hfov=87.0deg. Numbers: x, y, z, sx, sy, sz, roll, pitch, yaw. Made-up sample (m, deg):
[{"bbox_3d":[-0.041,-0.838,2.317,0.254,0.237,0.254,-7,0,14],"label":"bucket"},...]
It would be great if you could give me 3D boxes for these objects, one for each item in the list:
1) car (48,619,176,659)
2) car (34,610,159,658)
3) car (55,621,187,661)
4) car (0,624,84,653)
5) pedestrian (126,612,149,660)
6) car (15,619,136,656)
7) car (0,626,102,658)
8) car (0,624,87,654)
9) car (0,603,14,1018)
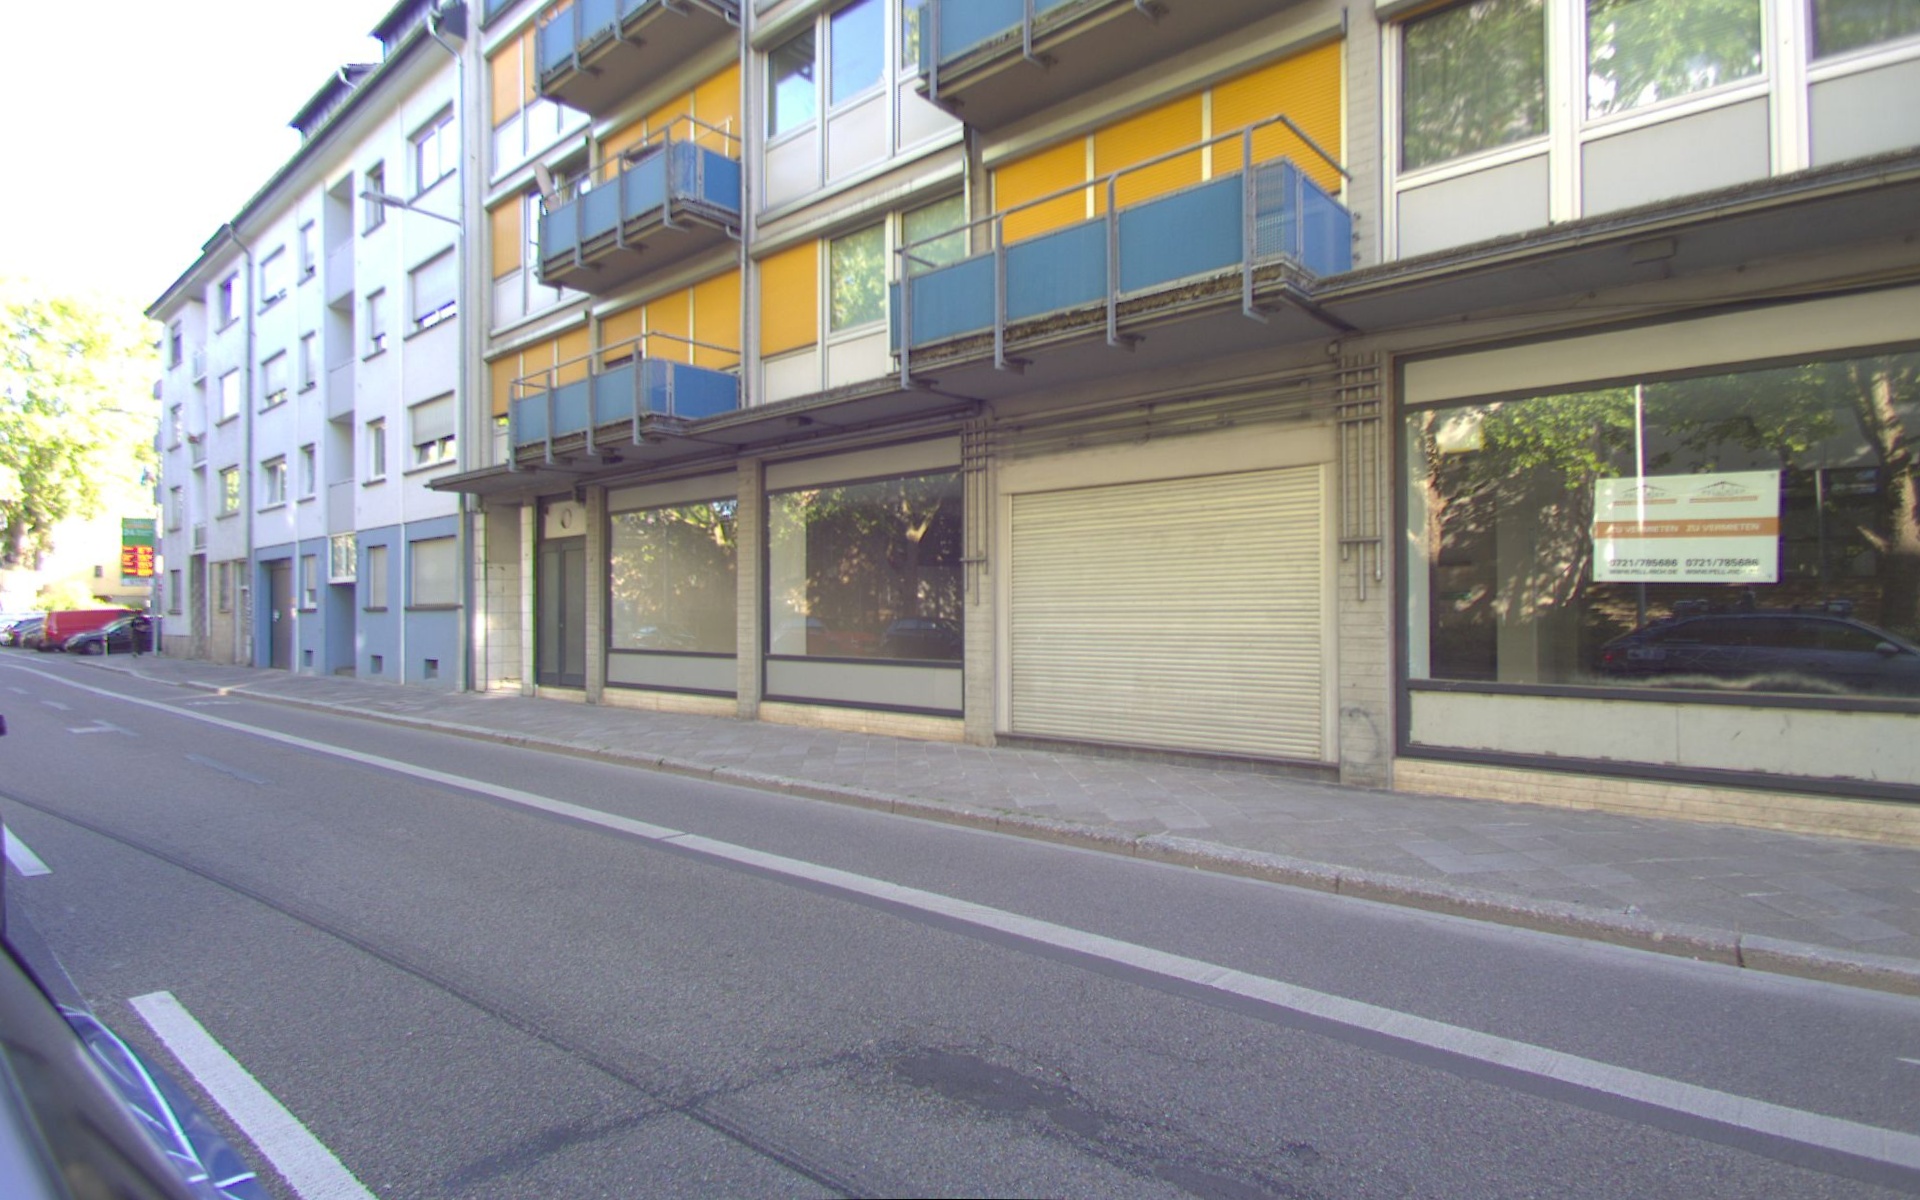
[{"bbox_3d":[-38.190,1.728,45.657,1.652,1.480,4.201,-1,1,41],"label":"car"},{"bbox_3d":[-40.571,1.556,47.619,1.817,1.933,4.202,-1,1,40],"label":"car"},{"bbox_3d":[-36.497,1.742,44.093,1.652,1.411,4.201,-1,1,41],"label":"car"},{"bbox_3d":[-55.882,2.294,61.197,1.652,1.480,4.201,-1,1,41],"label":"car"},{"bbox_3d":[-29.453,1.285,36.253,0.603,1.708,0.657,0,-1,-37],"label":"pedestrian"},{"bbox_3d":[-42.759,1.787,49.014,1.652,1.480,4.201,-1,1,41],"label":"car"},{"bbox_3d":[-50.467,2.288,56.104,1.652,1.480,4.201,-1,1,41],"label":"car"},{"bbox_3d":[-54.500,2.274,59.789,1.652,1.480,4.201,-1,1,41],"label":"car"},{"bbox_3d":[-5.691,0.801,4.446,4.300,1.510,1.826,-1,-1,41],"label":"car"}]
